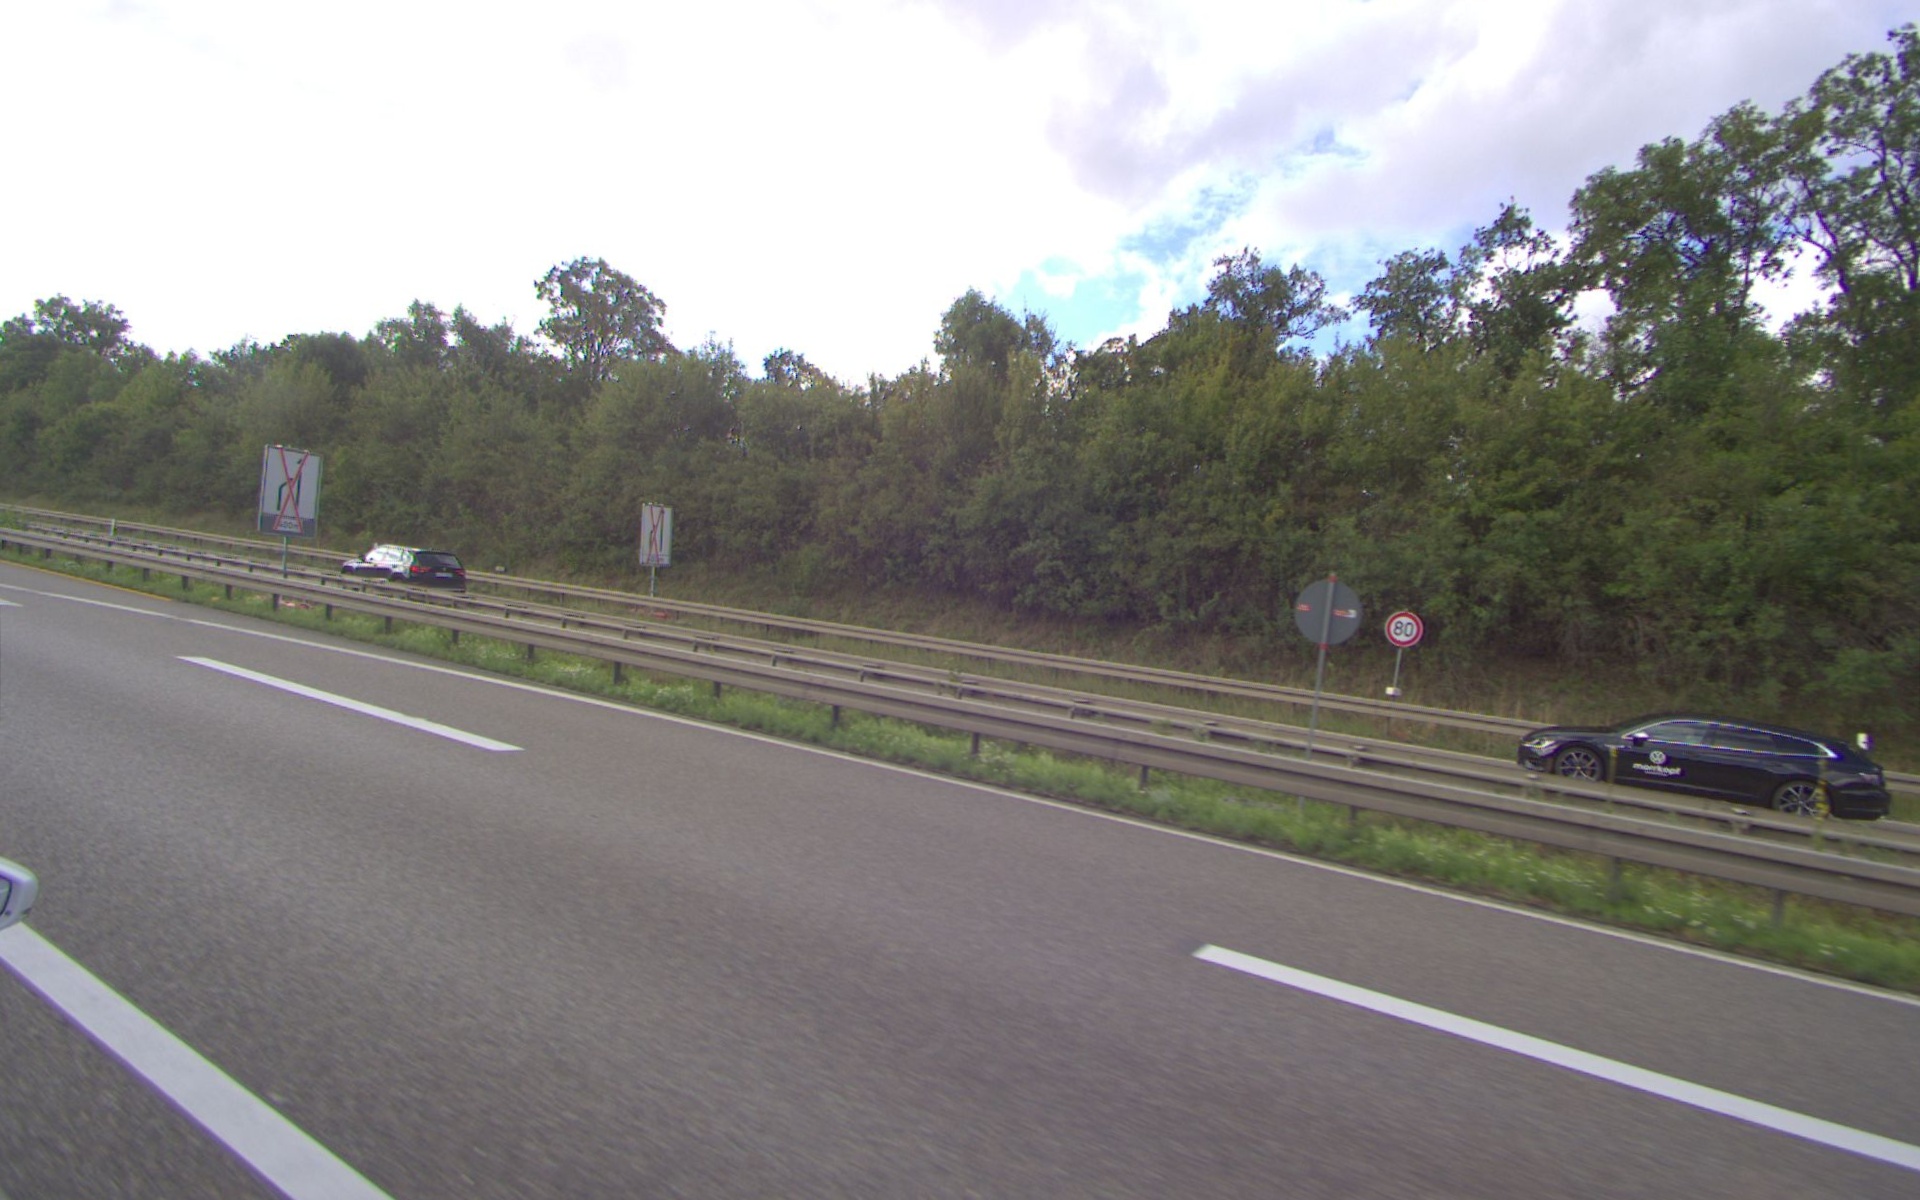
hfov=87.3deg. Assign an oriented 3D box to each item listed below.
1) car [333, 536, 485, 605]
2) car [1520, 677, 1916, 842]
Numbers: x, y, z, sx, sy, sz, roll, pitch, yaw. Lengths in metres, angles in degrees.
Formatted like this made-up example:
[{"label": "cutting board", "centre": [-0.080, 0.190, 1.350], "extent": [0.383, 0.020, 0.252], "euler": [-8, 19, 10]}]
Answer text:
[{"label": "car", "centre": [-16.118, -0.863, 29.360], "extent": [4.450, 1.503, 1.844], "euler": [7, 1, 31]}, {"label": "car", "centre": [11.708, 2.384, 16.046], "extent": [4.684, 1.623, 1.845], "euler": [7, 1, 31]}]
